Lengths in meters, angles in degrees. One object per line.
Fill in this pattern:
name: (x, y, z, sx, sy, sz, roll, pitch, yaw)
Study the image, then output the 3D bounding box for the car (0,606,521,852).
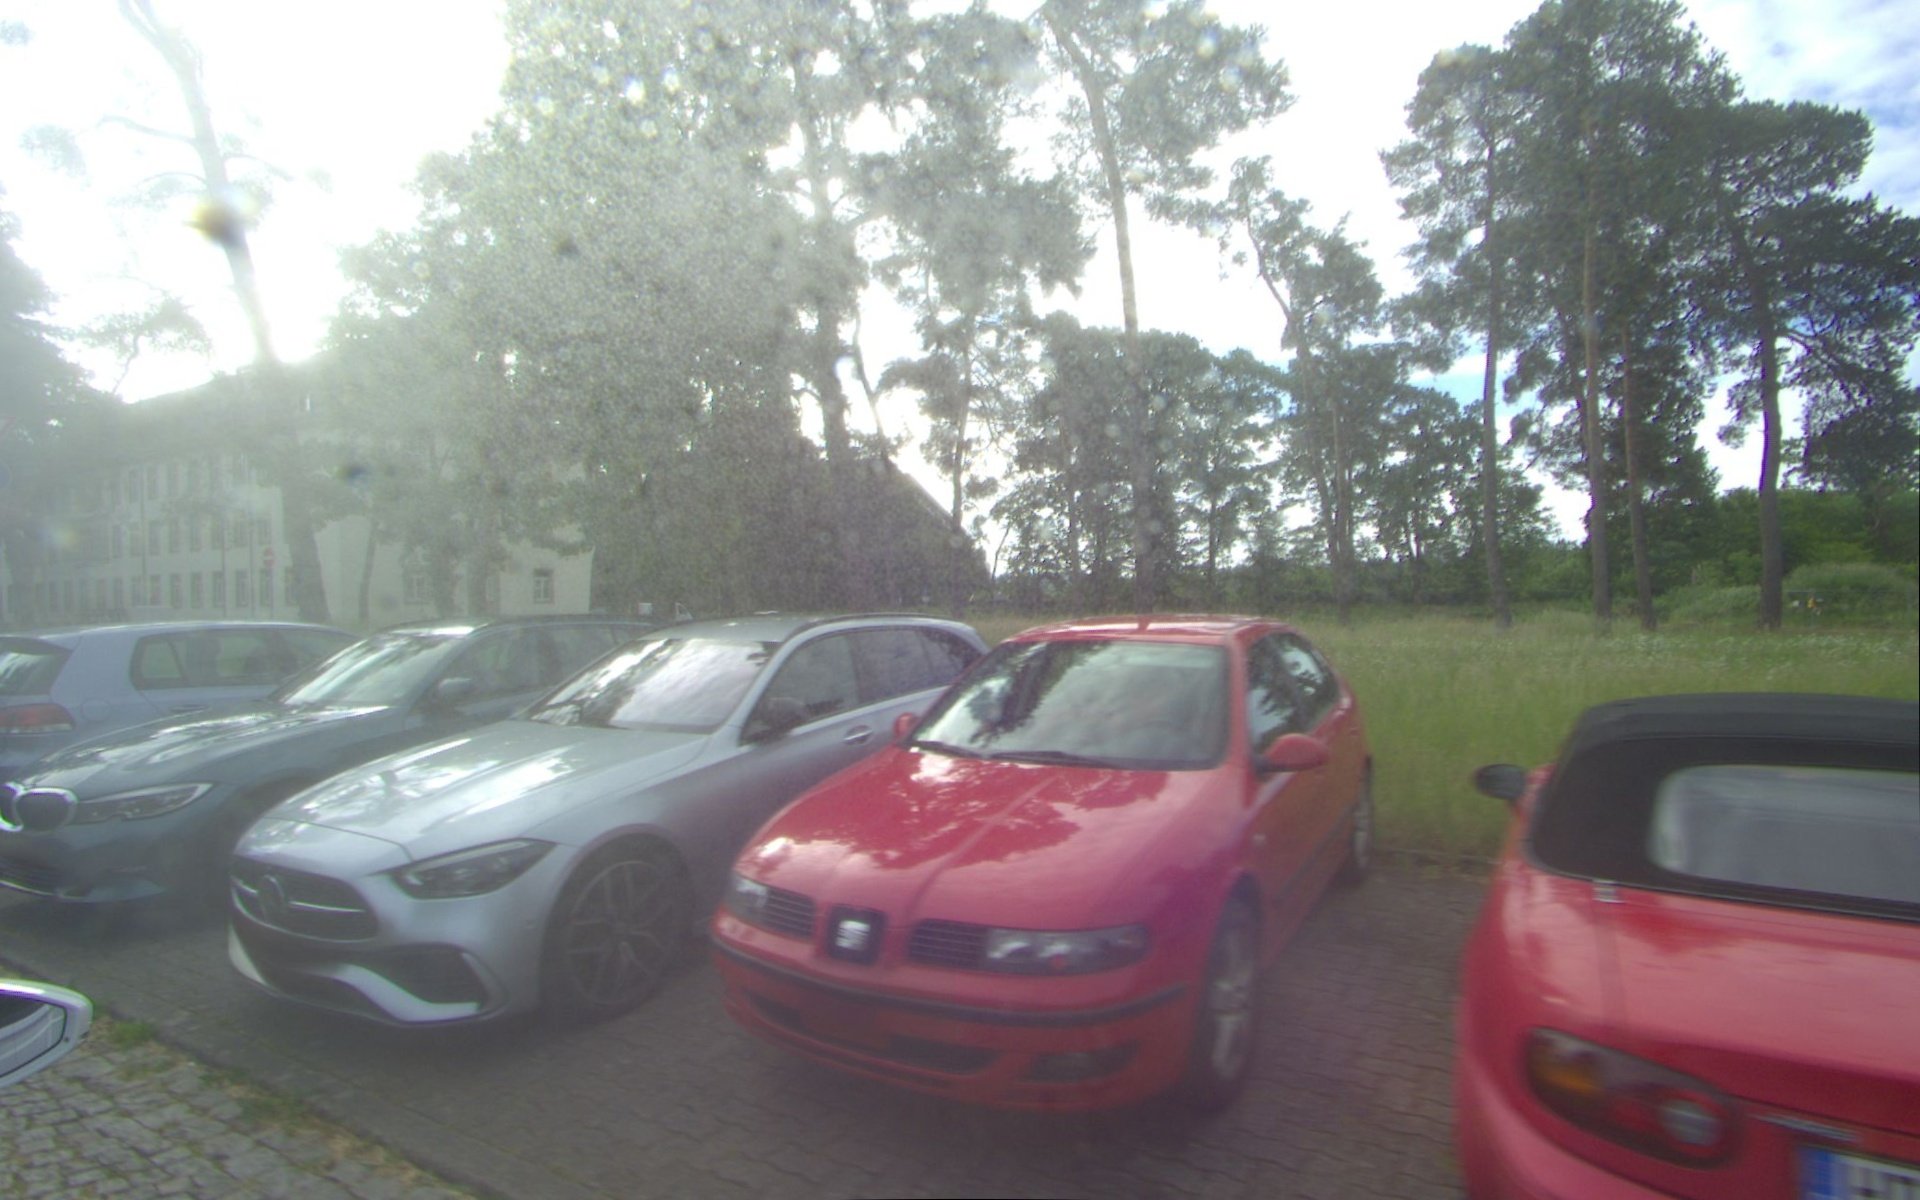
car: (-5.742, 0.814, 8.147, 1.582, 1.446, 3.756, 0, 1, 31)

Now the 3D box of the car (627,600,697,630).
car: (-23.747, 1.205, 80.045, 2.182, 2.318, 5.169, -1, 0, 33)

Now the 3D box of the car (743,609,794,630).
car: (-14.324, 1.433, 75.074, 1.972, 1.527, 3.474, -1, 0, 32)

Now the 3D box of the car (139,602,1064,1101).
car: (-1.257, 0.777, 5.525, 1.786, 1.502, 4.748, 0, 0, 31)

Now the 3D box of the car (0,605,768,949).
car: (-3.534, 0.798, 6.921, 1.734, 1.502, 4.753, 0, 0, 28)

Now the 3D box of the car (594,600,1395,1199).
car: (0.639, 0.748, 4.354, 1.774, 1.471, 3.954, 0, 0, 31)

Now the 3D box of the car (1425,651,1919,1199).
car: (2.375, 0.849, 2.856, 1.473, 1.223, 3.583, 0, 0, 32)
